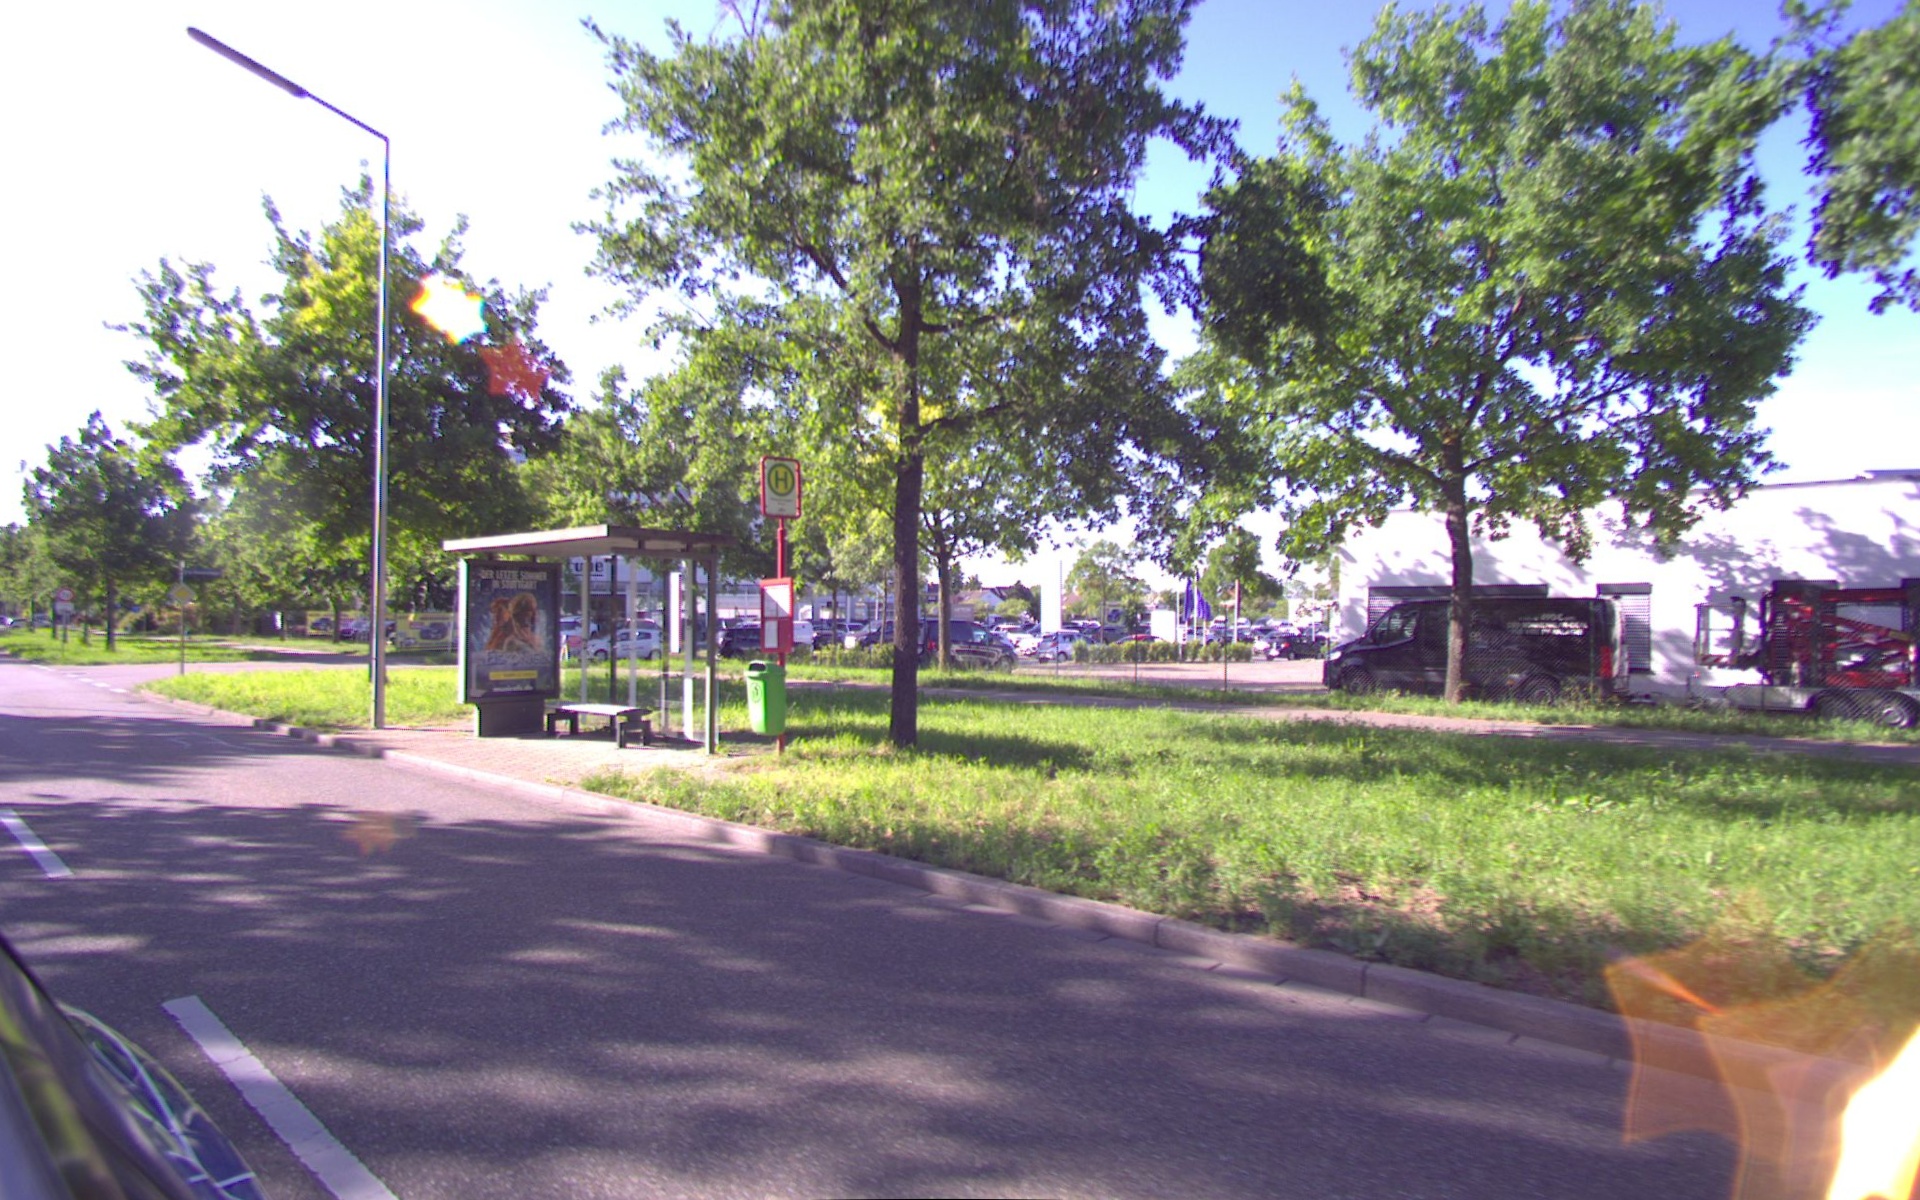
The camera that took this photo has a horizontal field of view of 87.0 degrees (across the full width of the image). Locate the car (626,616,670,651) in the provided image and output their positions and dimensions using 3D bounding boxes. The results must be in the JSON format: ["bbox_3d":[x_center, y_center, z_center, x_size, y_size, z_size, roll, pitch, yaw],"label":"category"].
[{"bbox_3d":[-17.635,1.858,57.405,1.967,1.851,4.010,-1,0,-12],"label":"car"}]

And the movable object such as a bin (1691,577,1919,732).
[{"bbox_3d":[15.660,0.886,17.902,4.234,2.535,1.972,-1,0,42],"label":"movable object such as a bin"}]

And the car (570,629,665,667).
[{"bbox_3d":[-15.661,2.146,46.312,3.827,1.513,2.006,-1,0,-29],"label":"car"}]

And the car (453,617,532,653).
[{"bbox_3d":[-26.610,1.973,57.773,1.983,1.851,3.978,-1,0,17],"label":"car"}]

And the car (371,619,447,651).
[{"bbox_3d":[-34.562,2.150,63.562,1.983,1.851,3.978,-1,0,17],"label":"car"}]

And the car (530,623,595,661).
[{"bbox_3d":[-21.660,2.273,55.339,1.972,1.851,3.999,-1,0,0],"label":"car"}]

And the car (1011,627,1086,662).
[{"bbox_3d":[5.199,2.584,59.390,3.932,1.851,2.006,-1,0,-32],"label":"car"}]

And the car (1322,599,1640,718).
[{"bbox_3d":[10.829,1.151,21.384,5.668,2.191,1.973,-1,-2,41],"label":"car"}]

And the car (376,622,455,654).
[{"bbox_3d":[-32.836,2.281,61.151,1.983,1.852,3.978,-1,-2,17],"label":"car"}]

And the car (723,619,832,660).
[{"bbox_3d":[-9.087,1.927,50.433,4.963,1.851,2.007,-1,0,-27],"label":"car"}]

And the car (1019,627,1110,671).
[{"bbox_3d":[5.004,2.280,48.219,3.933,1.851,2.005,-1,0,-34],"label":"car"}]

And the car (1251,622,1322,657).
[{"bbox_3d":[18.321,2.175,56.671,3.940,1.729,2.202,-1,0,-44],"label":"car"}]

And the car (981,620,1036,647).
[{"bbox_3d":[3.379,2.308,70.936,1.966,1.694,4.012,-1,0,-29],"label":"car"}]
